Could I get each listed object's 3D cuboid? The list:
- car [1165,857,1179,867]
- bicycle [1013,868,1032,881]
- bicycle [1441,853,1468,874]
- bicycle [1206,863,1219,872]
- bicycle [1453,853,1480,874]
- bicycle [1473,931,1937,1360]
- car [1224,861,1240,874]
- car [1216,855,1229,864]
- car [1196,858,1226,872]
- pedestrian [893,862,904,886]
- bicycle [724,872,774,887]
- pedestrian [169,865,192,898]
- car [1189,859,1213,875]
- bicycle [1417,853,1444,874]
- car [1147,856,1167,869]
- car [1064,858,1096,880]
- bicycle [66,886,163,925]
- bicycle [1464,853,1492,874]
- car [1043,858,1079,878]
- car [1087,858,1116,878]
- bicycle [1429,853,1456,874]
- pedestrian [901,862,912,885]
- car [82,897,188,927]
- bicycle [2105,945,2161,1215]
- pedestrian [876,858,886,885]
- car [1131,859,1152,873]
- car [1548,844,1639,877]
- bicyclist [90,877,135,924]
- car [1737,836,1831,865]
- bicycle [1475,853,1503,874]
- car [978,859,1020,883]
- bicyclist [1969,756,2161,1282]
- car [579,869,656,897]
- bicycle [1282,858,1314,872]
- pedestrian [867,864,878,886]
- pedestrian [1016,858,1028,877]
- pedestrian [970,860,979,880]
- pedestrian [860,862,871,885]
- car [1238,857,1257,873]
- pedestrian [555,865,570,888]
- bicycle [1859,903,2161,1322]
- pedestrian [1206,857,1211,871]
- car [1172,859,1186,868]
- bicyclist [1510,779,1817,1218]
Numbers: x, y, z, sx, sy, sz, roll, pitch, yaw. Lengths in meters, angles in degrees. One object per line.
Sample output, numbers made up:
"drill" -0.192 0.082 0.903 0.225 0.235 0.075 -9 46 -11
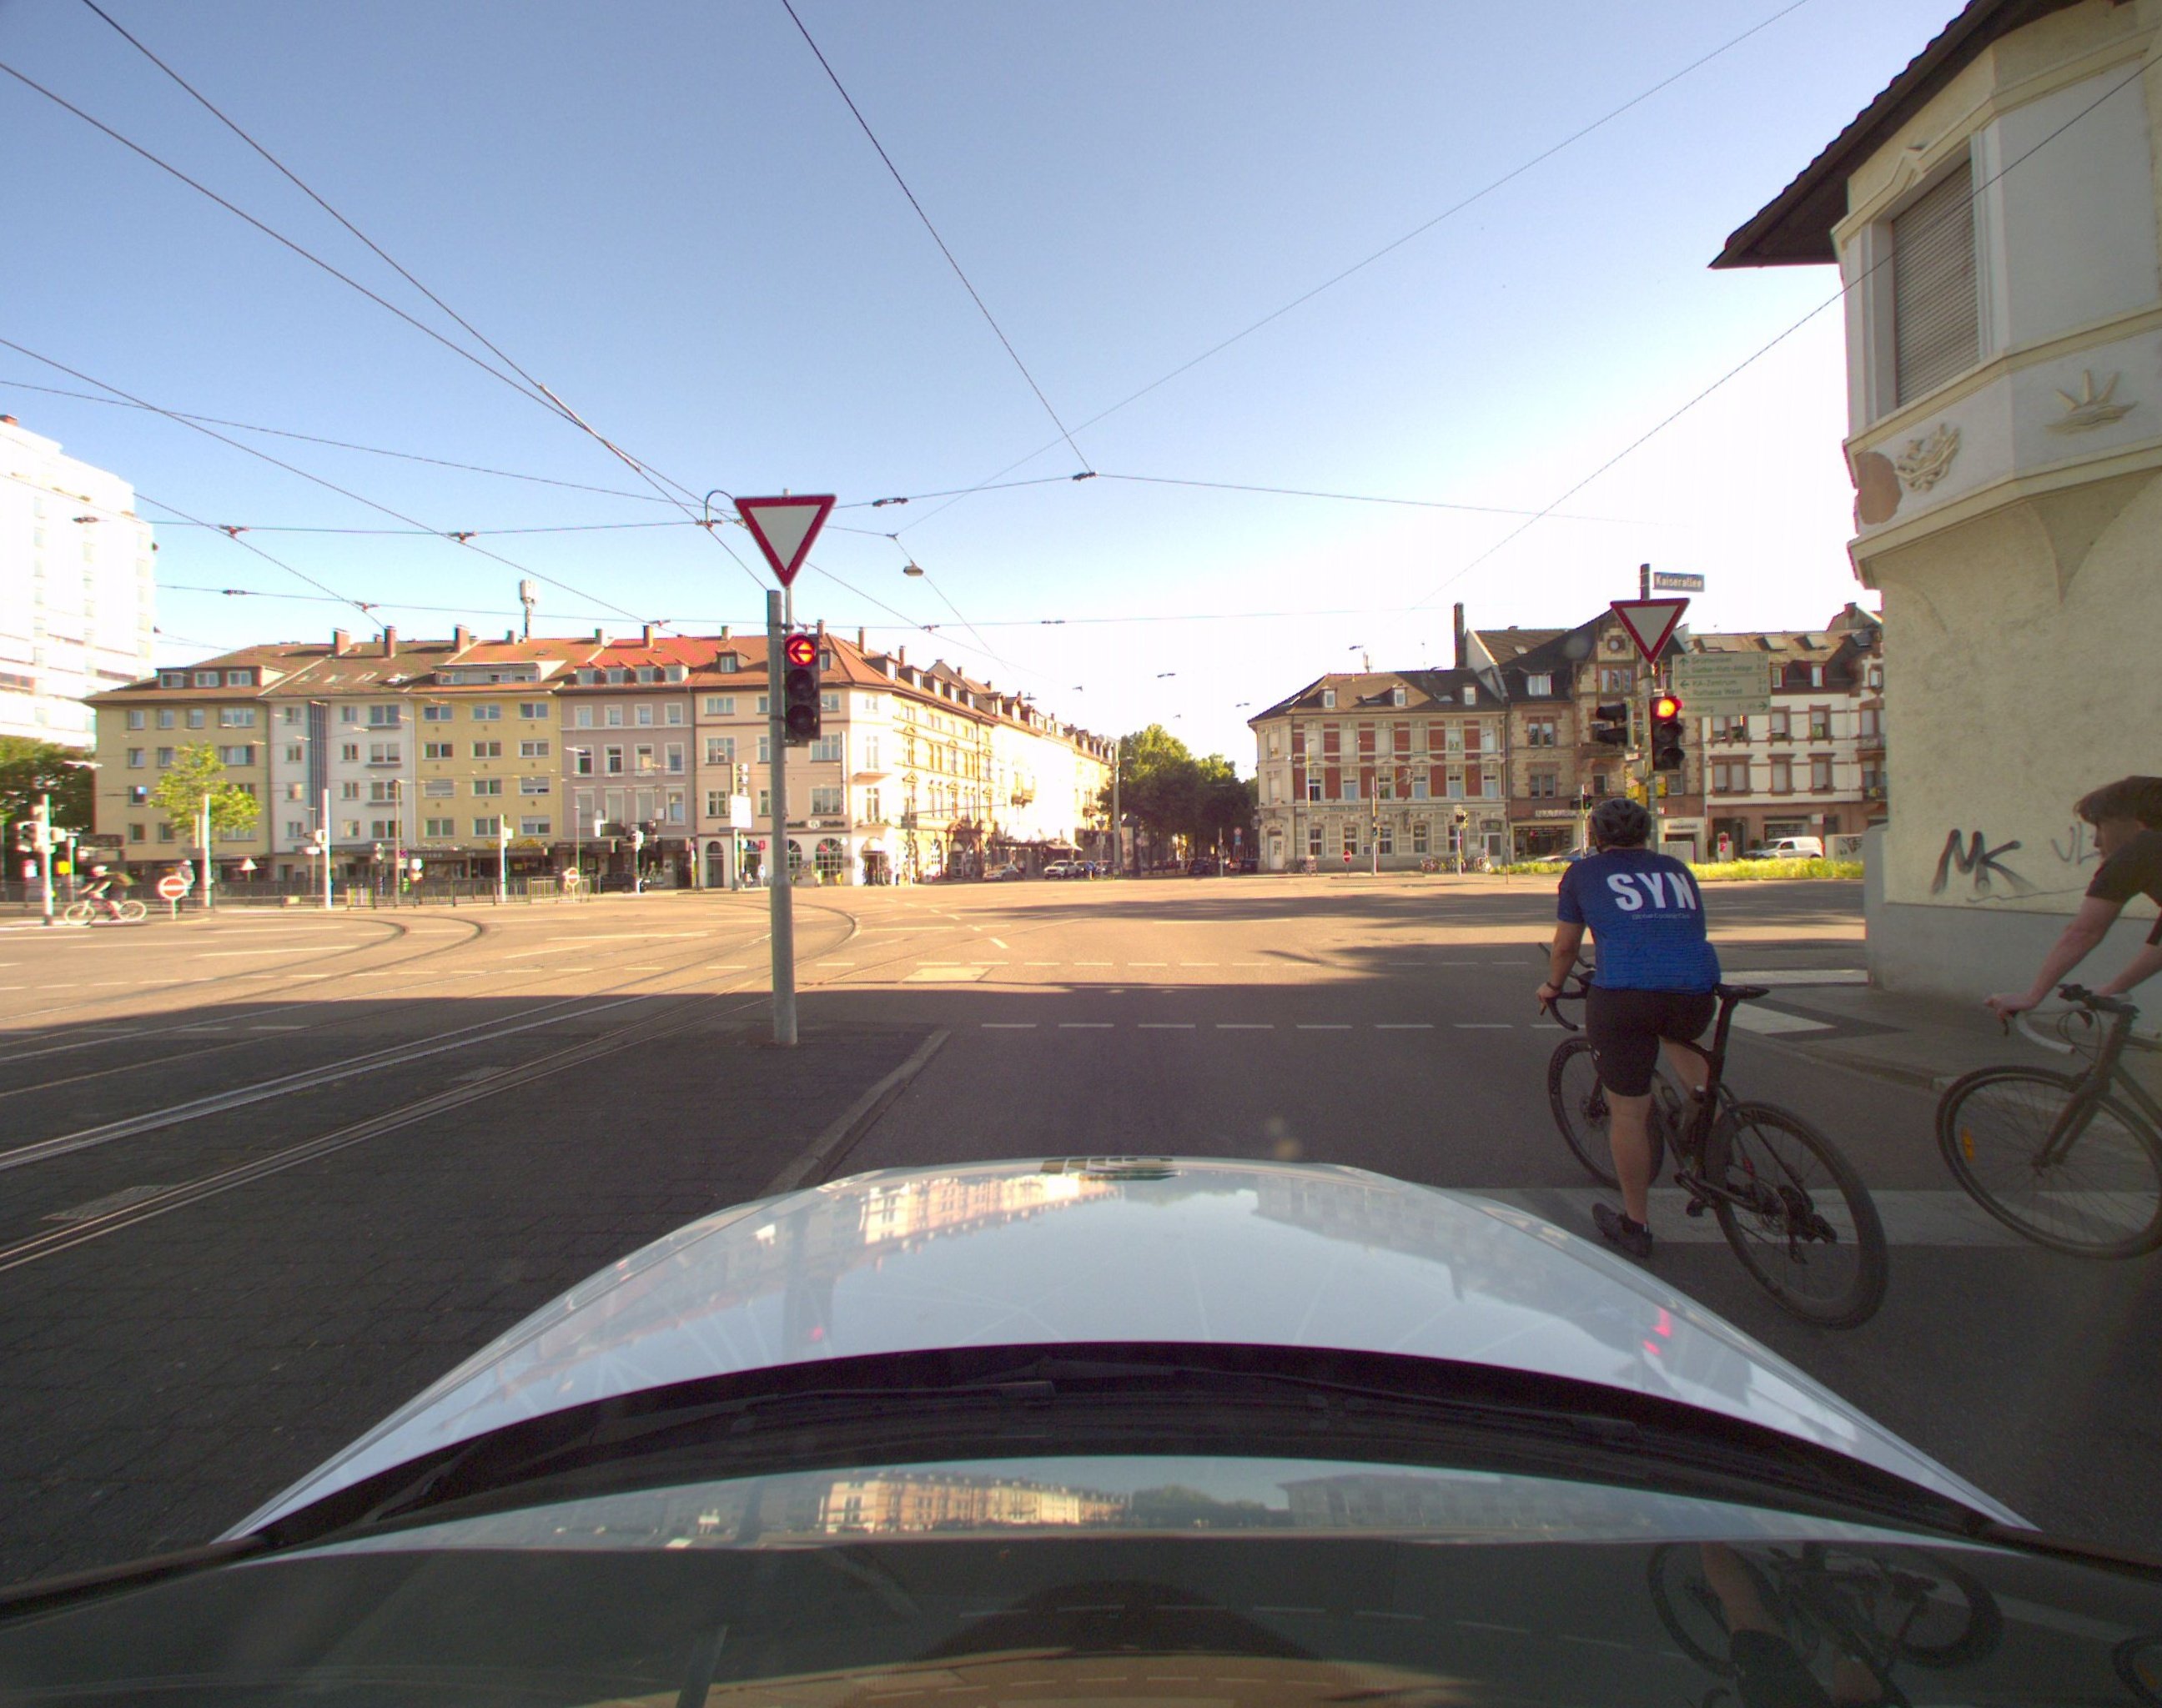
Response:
"car" 14.718 1.331 131.915 1.546 1.513 3.673 -1 -1 19
"bicycle" -4.728 1.633 65.550 0.756 1.008 2.406 -1 -1 16
"bicycle" 23.987 0.604 52.406 0.626 1.287 2.663 0 -1 3
"bicycle" 16.000 1.648 98.855 0.630 1.085 1.687 0 -1 -28
"bicycle" 24.777 0.615 52.378 0.626 1.287 2.663 0 -1 3
"bicycle" 2.217 0.921 3.219 0.623 1.085 1.705 0 -1 5
"car" 18.513 1.679 99.606 1.759 1.530 4.014 -1 -1 13
"car" 23.287 0.915 134.317 1.546 1.513 3.673 -1 -1 19
"car" 18.346 1.561 114.715 3.955 1.904 2.009 -1 -1 17
"pedestrian" -12.634 1.354 56.358 0.631 1.634 0.700 0 -1 -2
"bicycle" -23.422 1.788 57.459 3.118 0.980 1.002 0 -1 1
"pedestrian" -46.091 1.399 41.697 0.523 1.628 0.577 0 -1 0
"car" 10.943 1.185 74.003 1.741 1.362 3.871 -1 -1 15
"bicycle" 22.467 0.589 52.415 0.689 1.287 2.663 0 -1 3
"car" 11.440 1.329 122.396 1.977 1.904 4.019 -1 -1 19
"car" -0.044 1.368 73.809 1.979 1.904 4.015 -1 -1 14
"bicycle" -29.021 1.526 24.483 0.567 1.070 1.806 -1 -1 32
"bicycle" 25.505 0.608 52.373 0.626 1.287 2.663 0 -1 3
"car" -1.632 1.164 67.506 1.979 1.618 4.015 -1 -1 14
"car" 2.050 1.401 79.828 1.979 1.904 4.015 -1 -1 14
"bicycle" 23.264 0.604 52.413 0.689 1.287 2.663 0 -1 3
"pedestrian" -12.328 1.384 57.673 0.631 1.634 0.700 0 -1 -2
"car" -55.113 3.355 47.496 4.145 1.618 1.957 0 -1 5
"bicycle" 4.484 0.879 2.439 0.647 1.031 1.772 0 -1 3
"pedestrian" -14.016 1.256 57.063 0.631 1.881 0.465 0 -1 -2
"car" 8.404 1.619 112.684 1.977 1.904 4.019 -1 -1 19
"car" 28.345 0.348 45.128 3.769 1.778 2.000 0 -1 1
"bicyclist" -29.057 1.375 24.431 0.553 1.366 0.808 -1 -1 33
"car" 45.314 -0.232 52.558 4.349 1.778 2.000 0 -1 1
"bicycle" 26.200 0.611 52.345 0.626 1.287 2.663 0 -1 3
"car" -6.748 1.366 67.438 1.977 1.904 4.019 -1 -1 19
"bicyclist" 3.702 0.503 2.576 0.803 1.606 0.883 0 -1 0
"car" -30.586 1.916 53.811 3.962 1.670 2.006 -2 0 10
"bicycle" 15.140 0.772 56.878 2.040 0.998 0.631 -1 -1 4
"pedestrian" -14.363 1.453 56.219 0.631 1.477 0.465 0 -1 -2
"pedestrian" -4.756 1.104 65.481 0.814 1.512 0.601 -1 -1 16
"pedestrian" -9.035 1.365 69.099 0.539 1.631 0.709 -1 -1 15
"pedestrian" -15.093 1.369 57.056 0.631 1.612 0.465 0 -1 -2
"car" 16.823 1.128 82.353 1.680 1.565 3.855 -1 -1 14
"pedestrian" -36.021 1.563 56.581 0.631 1.634 0.700 0 -1 -2
"bicycle" 3.711 0.824 2.638 0.752 1.236 1.702 0 -1 0
"pedestrian" 16.723 1.323 106.787 0.635 1.796 0.492 -1 -1 14
"car" 16.360 1.601 135.963 1.546 1.513 3.673 -1 -1 19
"bicyclist" 2.221 0.484 3.230 0.635 1.494 0.885 0 1 6
